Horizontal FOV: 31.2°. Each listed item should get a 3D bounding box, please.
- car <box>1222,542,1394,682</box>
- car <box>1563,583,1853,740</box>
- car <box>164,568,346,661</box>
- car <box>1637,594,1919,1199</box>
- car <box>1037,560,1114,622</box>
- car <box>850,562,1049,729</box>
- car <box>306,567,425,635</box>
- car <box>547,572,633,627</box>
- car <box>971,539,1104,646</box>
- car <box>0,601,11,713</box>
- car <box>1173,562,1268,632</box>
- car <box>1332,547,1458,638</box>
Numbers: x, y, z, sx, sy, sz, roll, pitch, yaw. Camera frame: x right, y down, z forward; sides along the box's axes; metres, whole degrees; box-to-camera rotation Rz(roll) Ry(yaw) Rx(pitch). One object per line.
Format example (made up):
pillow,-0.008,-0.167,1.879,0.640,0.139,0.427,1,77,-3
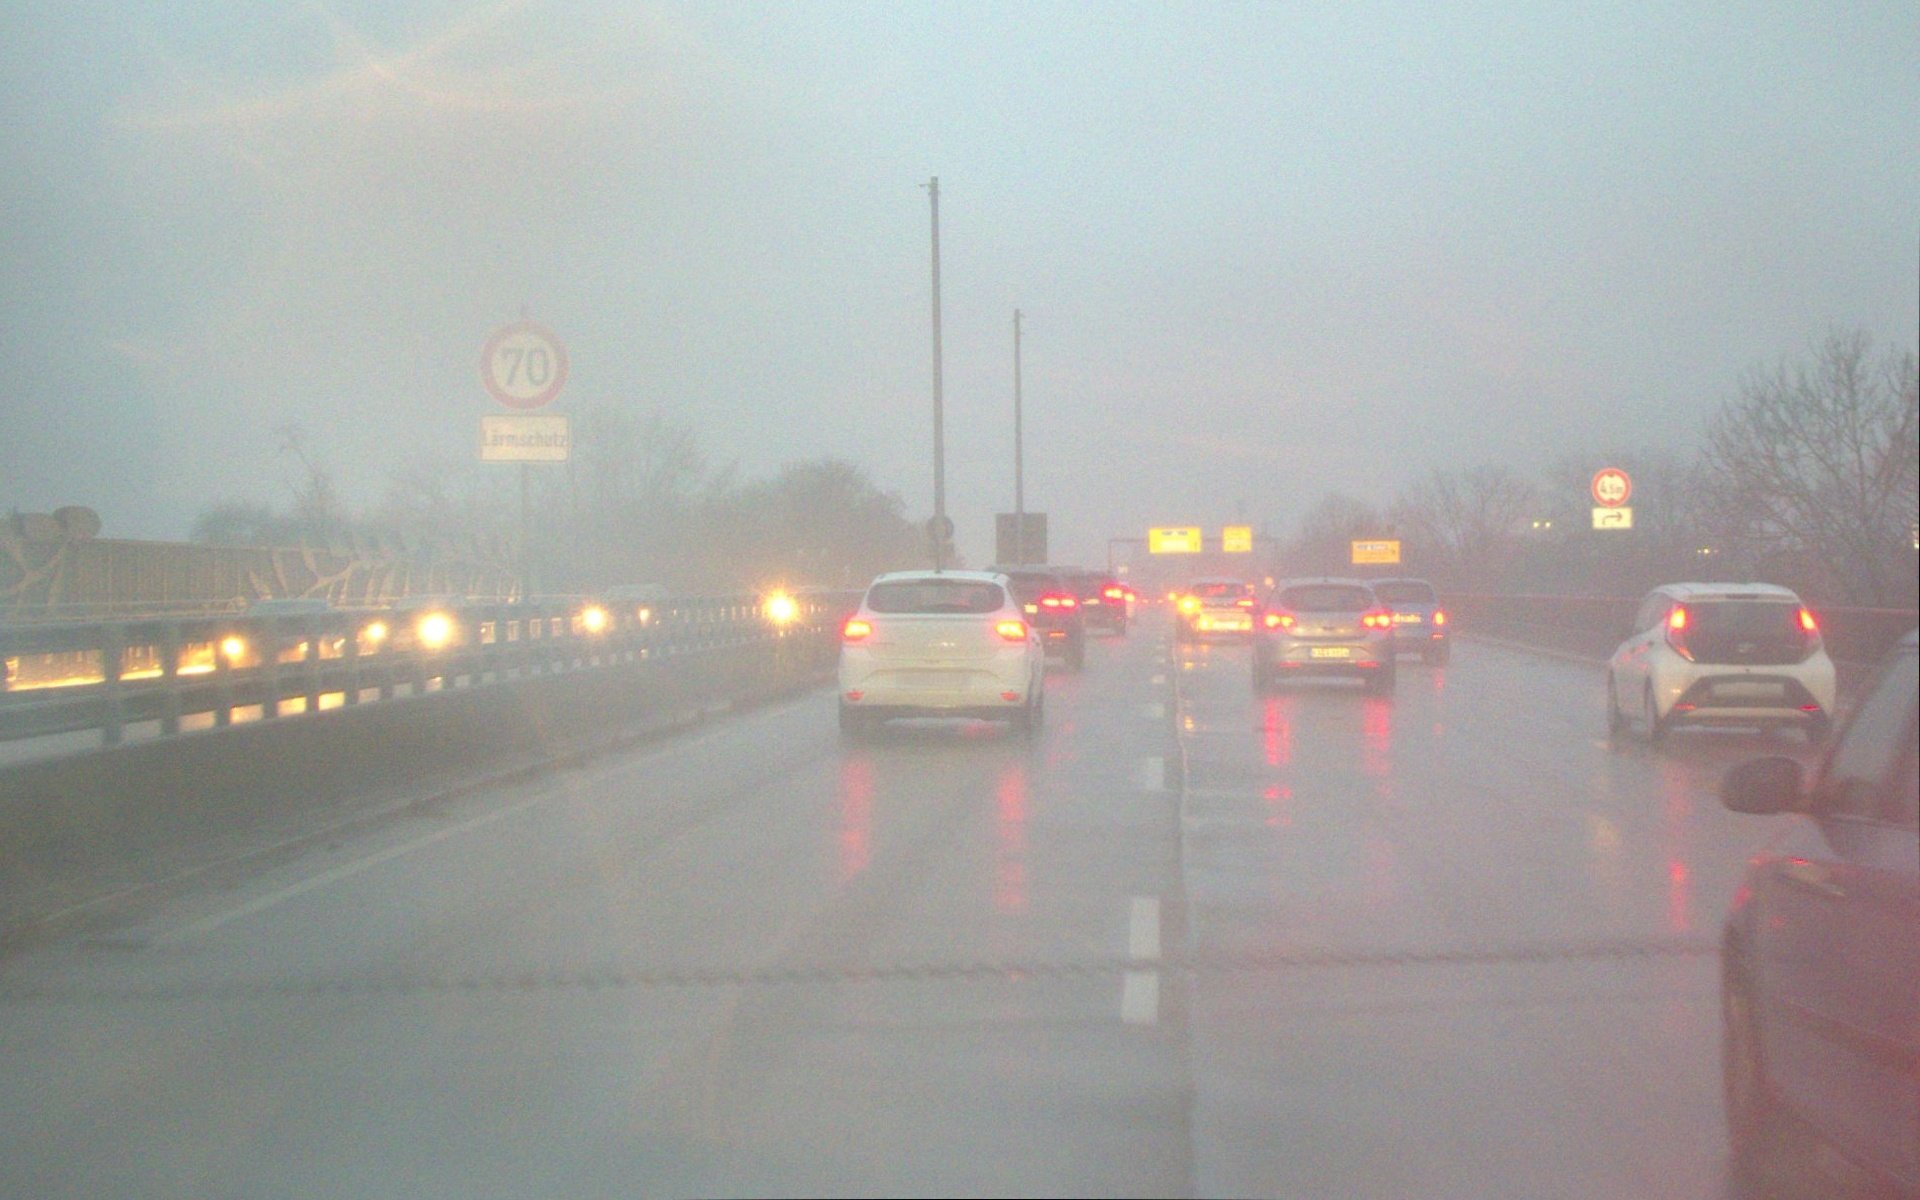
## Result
car,4.597,0.123,45.916,1.897,1.761,4.308,1,1,1
car,6.943,0.531,32.301,1.994,1.341,4.000,0,1,2
car,-11.777,0.206,57.746,1.894,1.460,4.829,-1,0,2
car,2.845,0.741,7.844,1.994,1.495,4.137,0,0,3
car,2.972,-0.248,88.999,1.789,1.540,4.000,1,1,-1
car,-0.113,0.390,32.208,1.724,1.435,4.226,1,0,-1
car,-13.462,0.003,78.032,1.894,1.460,4.000,-1,0,1
car,-10.402,-0.033,96.877,1.894,1.460,4.000,-1,0,1
car,1.277,-0.145,54.819,1.994,1.596,4.308,1,1,3
car,-13.599,0.784,43.324,1.894,1.460,4.460,-1,0,2
car,5.904,-0.081,78.285,1.789,1.540,4.000,0,1,-1
car,7.741,-0.154,61.512,1.789,1.540,4.000,-1,1,1
